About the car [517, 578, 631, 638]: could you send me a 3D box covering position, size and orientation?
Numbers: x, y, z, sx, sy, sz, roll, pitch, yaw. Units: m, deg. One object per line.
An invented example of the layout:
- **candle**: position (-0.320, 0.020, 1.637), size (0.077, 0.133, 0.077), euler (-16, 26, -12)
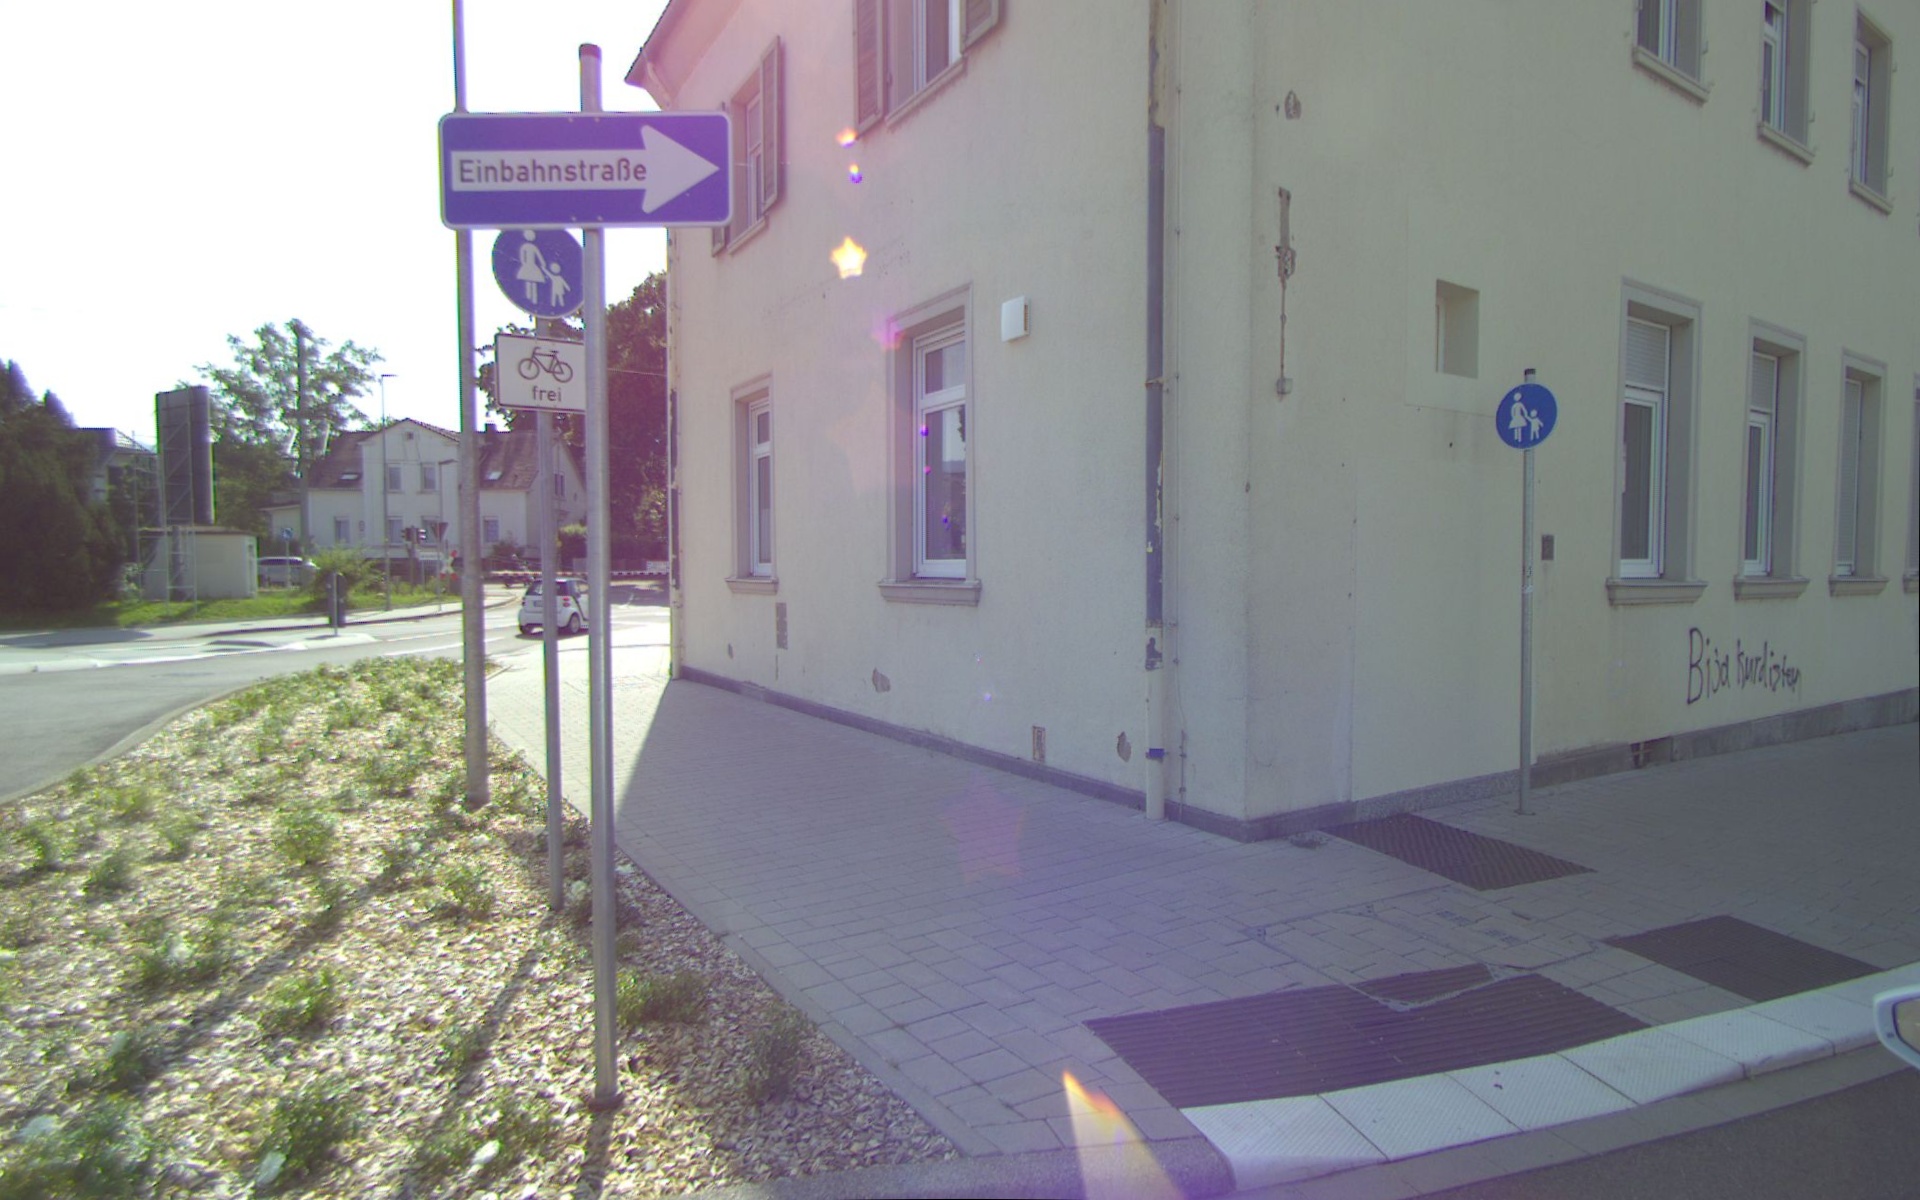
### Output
- **car**: position (-11.243, 0.168, 29.549), size (1.680, 1.417, 3.999), euler (1, 4, 2)

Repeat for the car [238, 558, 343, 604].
- **car**: position (-31.547, -0.937, 47.462), size (3.954, 1.941, 1.878), euler (-2, 5, -31)
